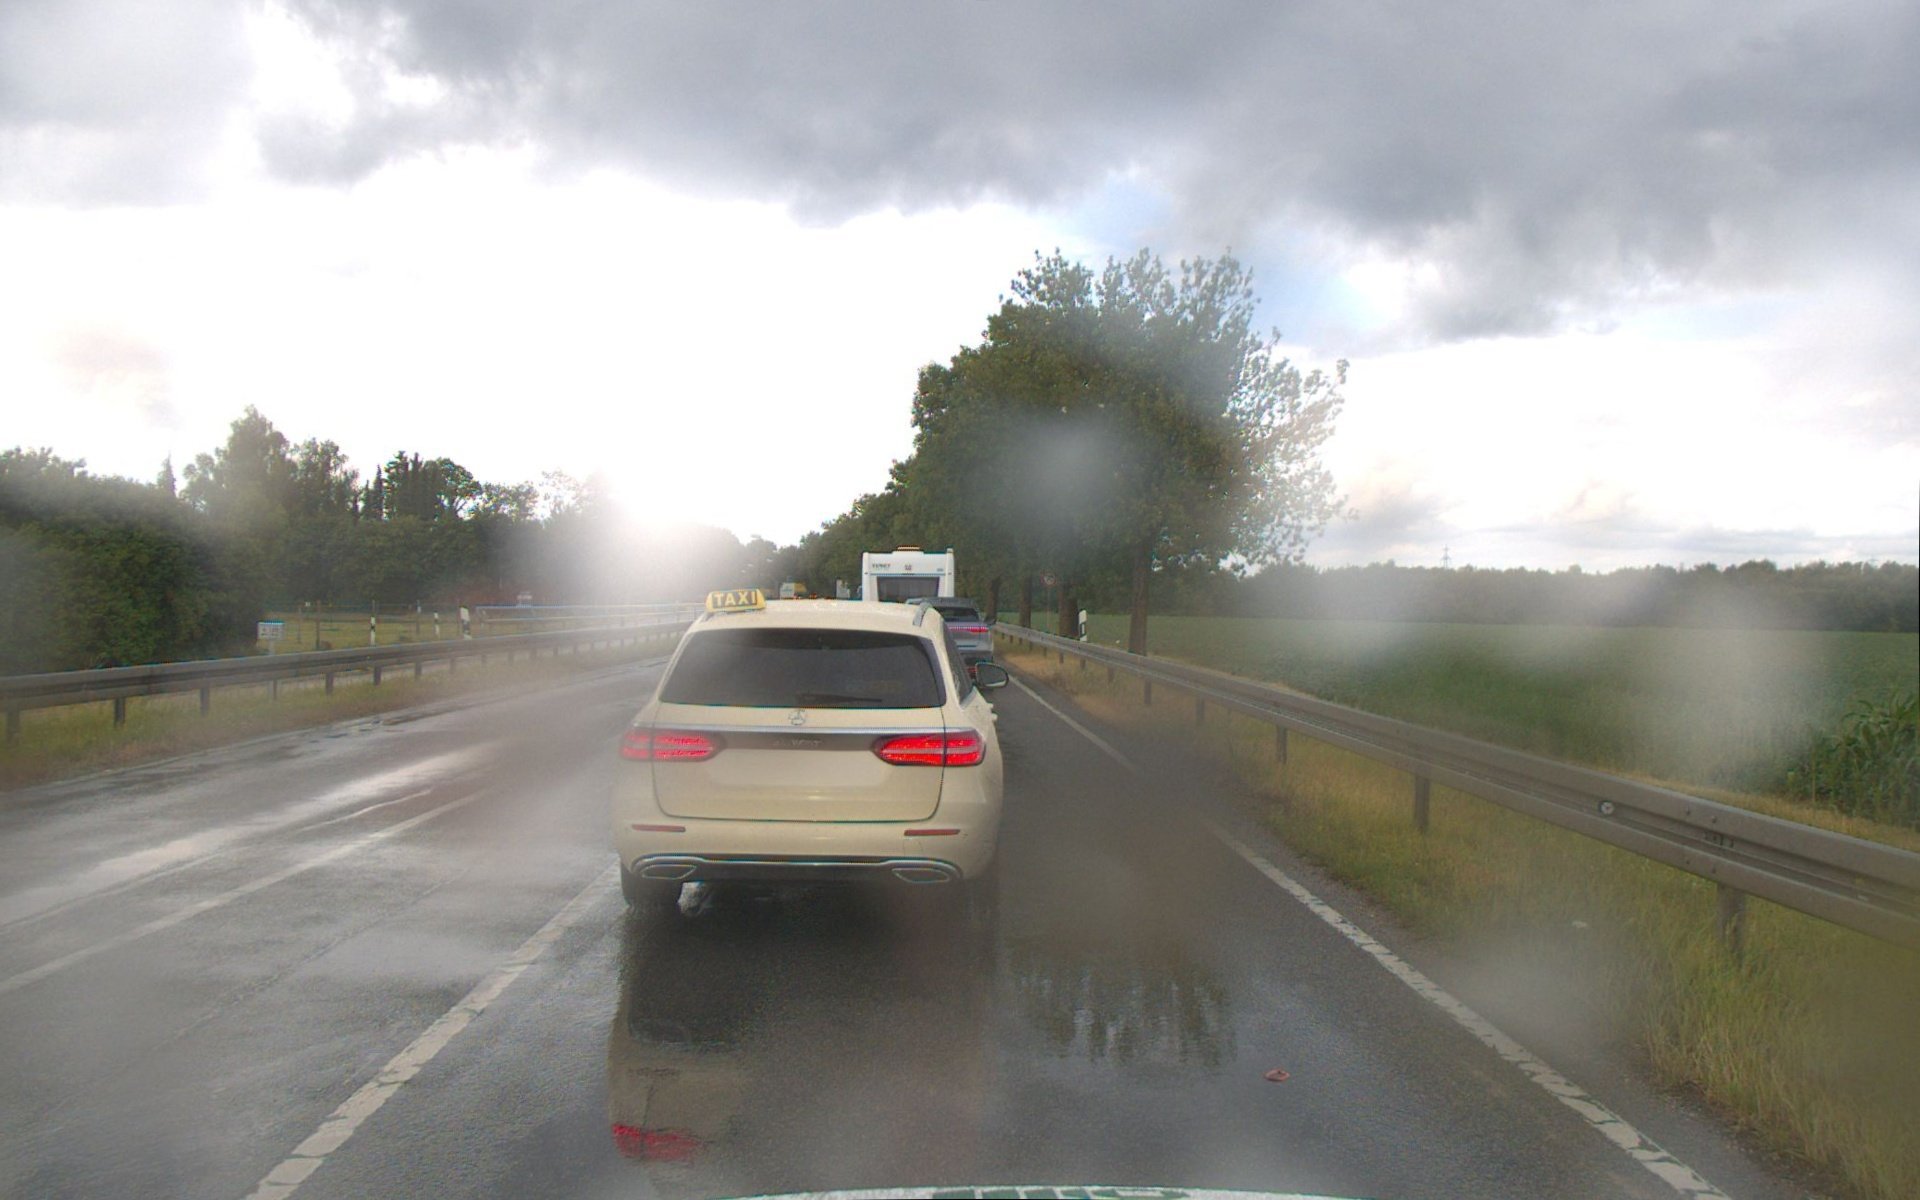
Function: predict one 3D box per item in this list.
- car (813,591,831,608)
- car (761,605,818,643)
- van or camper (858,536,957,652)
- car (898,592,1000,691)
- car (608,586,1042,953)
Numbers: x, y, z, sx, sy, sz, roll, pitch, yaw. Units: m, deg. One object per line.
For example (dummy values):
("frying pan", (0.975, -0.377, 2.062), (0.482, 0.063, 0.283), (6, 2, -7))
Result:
("car", (-17.367, -0.053, 208.673), (1.953, 2.087, 4.000), (1, 0, 0))
("car", (-6.178, 0.855, 60.230), (1.723, 1.291, 3.999), (1, 0, -1))
("van or camper", (-1.304, -0.161, 42.187), (2.303, 2.727, 5.767), (1, 0, -1))
("car", (-0.207, 0.646, 28.263), (1.594, 1.556, 3.931), (1, 0, -1))
("car", (-0.551, 0.698, 8.891), (1.787, 1.511, 4.145), (0, 0, 0))
